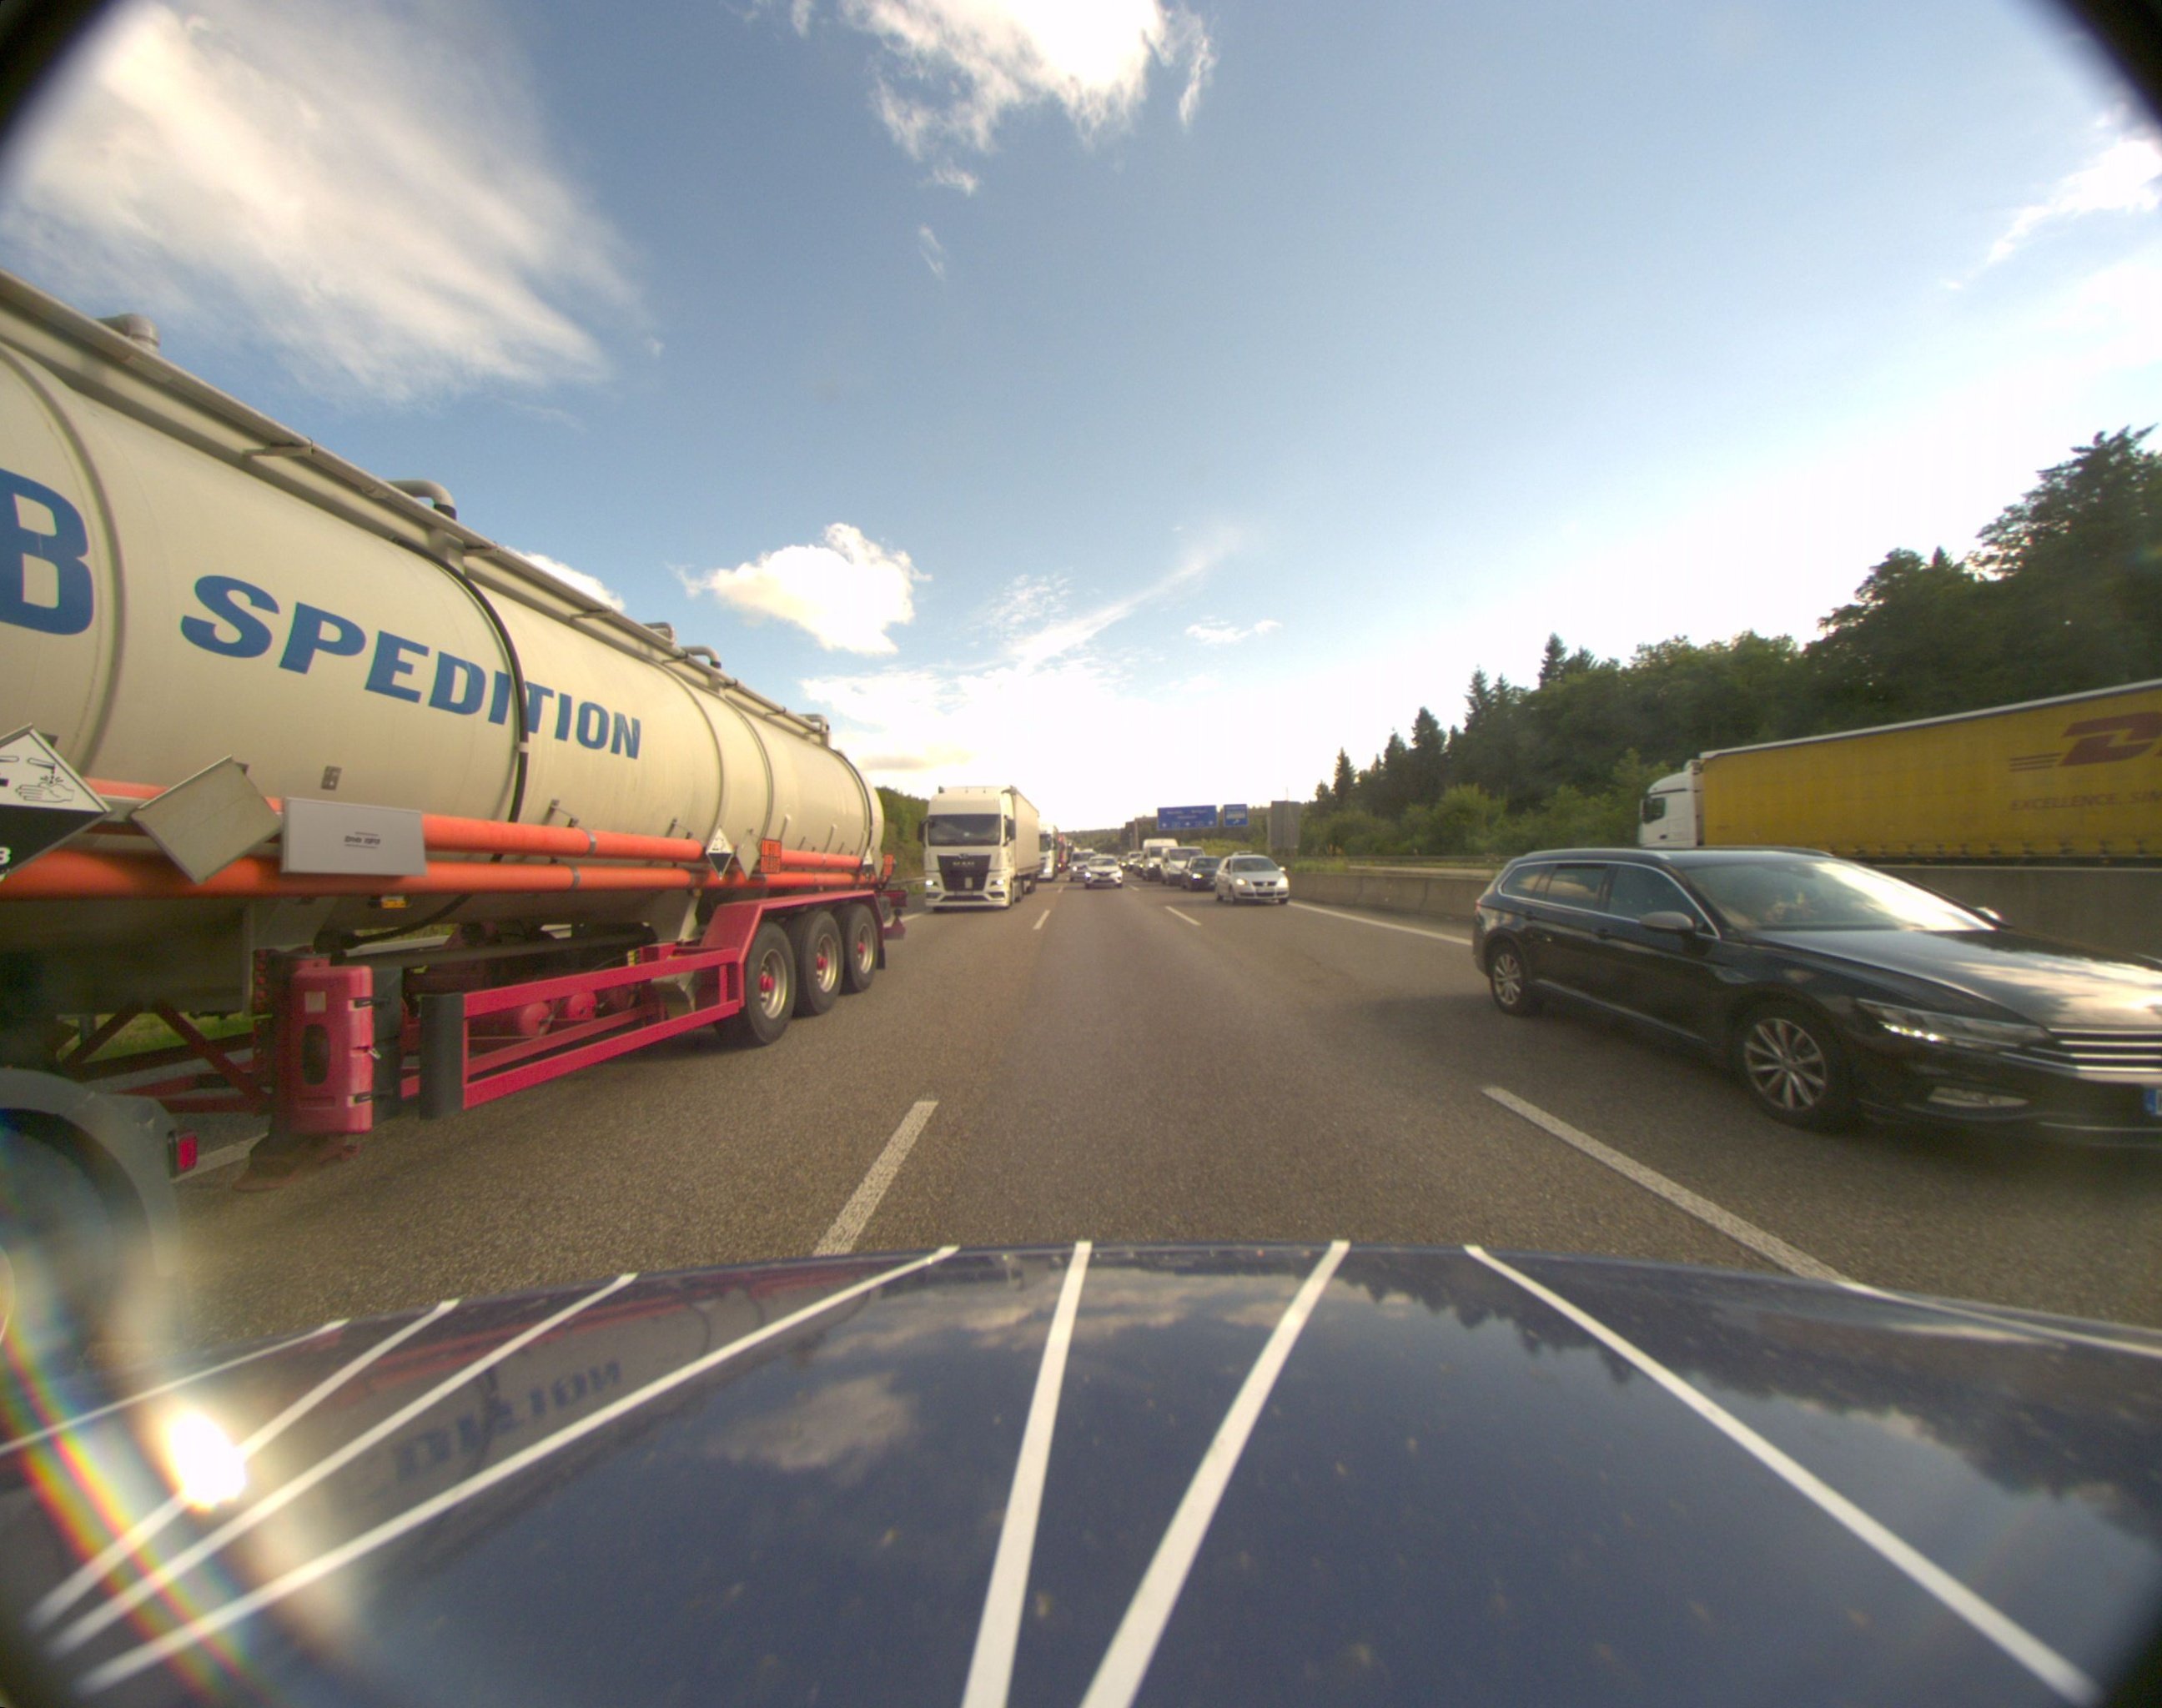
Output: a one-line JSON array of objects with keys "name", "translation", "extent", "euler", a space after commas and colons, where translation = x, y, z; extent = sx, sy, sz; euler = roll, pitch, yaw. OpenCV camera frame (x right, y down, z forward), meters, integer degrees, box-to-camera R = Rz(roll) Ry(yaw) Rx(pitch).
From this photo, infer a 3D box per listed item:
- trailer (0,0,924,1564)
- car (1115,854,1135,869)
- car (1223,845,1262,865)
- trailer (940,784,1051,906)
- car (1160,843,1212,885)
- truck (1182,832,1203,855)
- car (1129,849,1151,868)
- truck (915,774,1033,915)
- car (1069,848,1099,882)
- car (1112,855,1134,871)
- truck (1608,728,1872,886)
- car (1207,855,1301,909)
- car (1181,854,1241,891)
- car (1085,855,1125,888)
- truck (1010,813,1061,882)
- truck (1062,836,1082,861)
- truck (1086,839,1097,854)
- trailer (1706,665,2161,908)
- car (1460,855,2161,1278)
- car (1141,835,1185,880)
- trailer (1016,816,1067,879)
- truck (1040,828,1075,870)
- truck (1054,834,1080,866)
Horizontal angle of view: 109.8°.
[{"name": "trailer", "translation": [-3.963, -0.284, 5.943], "extent": [2.805, 4.003, 11.182], "euler": [-2, 0, 1]}, {"name": "car", "translation": [4.875, 0.863, 84.650], "extent": [1.920, 1.535, 3.811], "euler": [-2, 0, 0]}, {"name": "car", "translation": [12.306, 0.098, 58.092], "extent": [1.809, 1.423, 4.322], "euler": [-2, 0, -2]}, {"name": "trailer", "translation": [-3.149, -0.331, 32.337], "extent": [2.833, 4.047, 13.371], "euler": [-2, 0, 1]}, {"name": "car", "translation": [5.295, 0.487, 38.962], "extent": [1.947, 1.953, 4.847], "euler": [-2, 0, 0]}, {"name": "truck", "translation": [22.235, -2.093, 152.146], "extent": [2.840, 4.178, 12.045], "euler": [-2, 1, 2]}, {"name": "car", "translation": [5.851, 0.400, 75.561], "extent": [1.920, 1.785, 3.811], "euler": [-2, 0, 0]}, {"name": "truck", "translation": [-3.312, -0.294, 25.044], "extent": [2.841, 4.048, 5.707], "euler": [-2, 0, 1]}, {"name": "car", "translation": [0.190, 0.671, 49.316], "extent": [1.809, 2.052, 4.770], "euler": [-2, 0, 0]}, {"name": "car", "translation": [3.938, 0.821, 71.043], "extent": [1.809, 1.423, 3.660], "euler": [-2, 0, 0]}, {"name": "truck", "translation": [19.978, -1.299, 23.629], "extent": [2.841, 4.178, 6.078], "euler": [-2, 1, 0]}, {"name": "car", "translation": [5.199, 0.790, 23.473], "extent": [1.809, 1.423, 4.666], "euler": [-2, 0, 0]}, {"name": "car", "translation": [5.422, 0.729, 32.141], "extent": [1.809, 1.423, 3.994], "euler": [-2, 0, 0]}, {"name": "car", "translation": [1.148, 0.829, 38.051], "extent": [1.809, 1.487, 4.666], "euler": [-1, 0, 0]}, {"name": "truck", "translation": [-2.920, -0.412, 50.671], "extent": [2.841, 4.177, 5.707], "euler": [-2, 0, 1]}, {"name": "truck", "translation": [-1.556, -0.965, 134.619], "extent": [2.840, 4.178, 12.045], "euler": [-2, 1, 2]}, {"name": "truck", "translation": [3.245, -2.258, 230.997], "extent": [2.840, 4.178, 12.045], "euler": [-2, 1, 2]}, {"name": "trailer", "translation": [19.986, -1.239, 15.724], "extent": [2.841, 4.178, 13.560], "euler": [-2, 1, 0]}, {"name": "car", "translation": [4.536, 0.778, 5.009], "extent": [1.915, 1.469, 4.569], "euler": [-2, 0, 2]}, {"name": "car", "translation": [4.923, 0.196, 46.513], "extent": [2.054, 2.557, 5.861], "euler": [-1, 0, 0]}, {"name": "trailer", "translation": [-2.818, -0.444, 58.097], "extent": [2.841, 4.177, 13.613], "euler": [-2, 0, 1]}, {"name": "truck", "translation": [-2.426, -0.592, 82.284], "extent": [2.840, 4.178, 12.045], "euler": [-2, 1, 2]}, {"name": "truck", "translation": [-1.824, -0.637, 106.986], "extent": [2.840, 4.178, 12.045], "euler": [-2, 1, 2]}]
